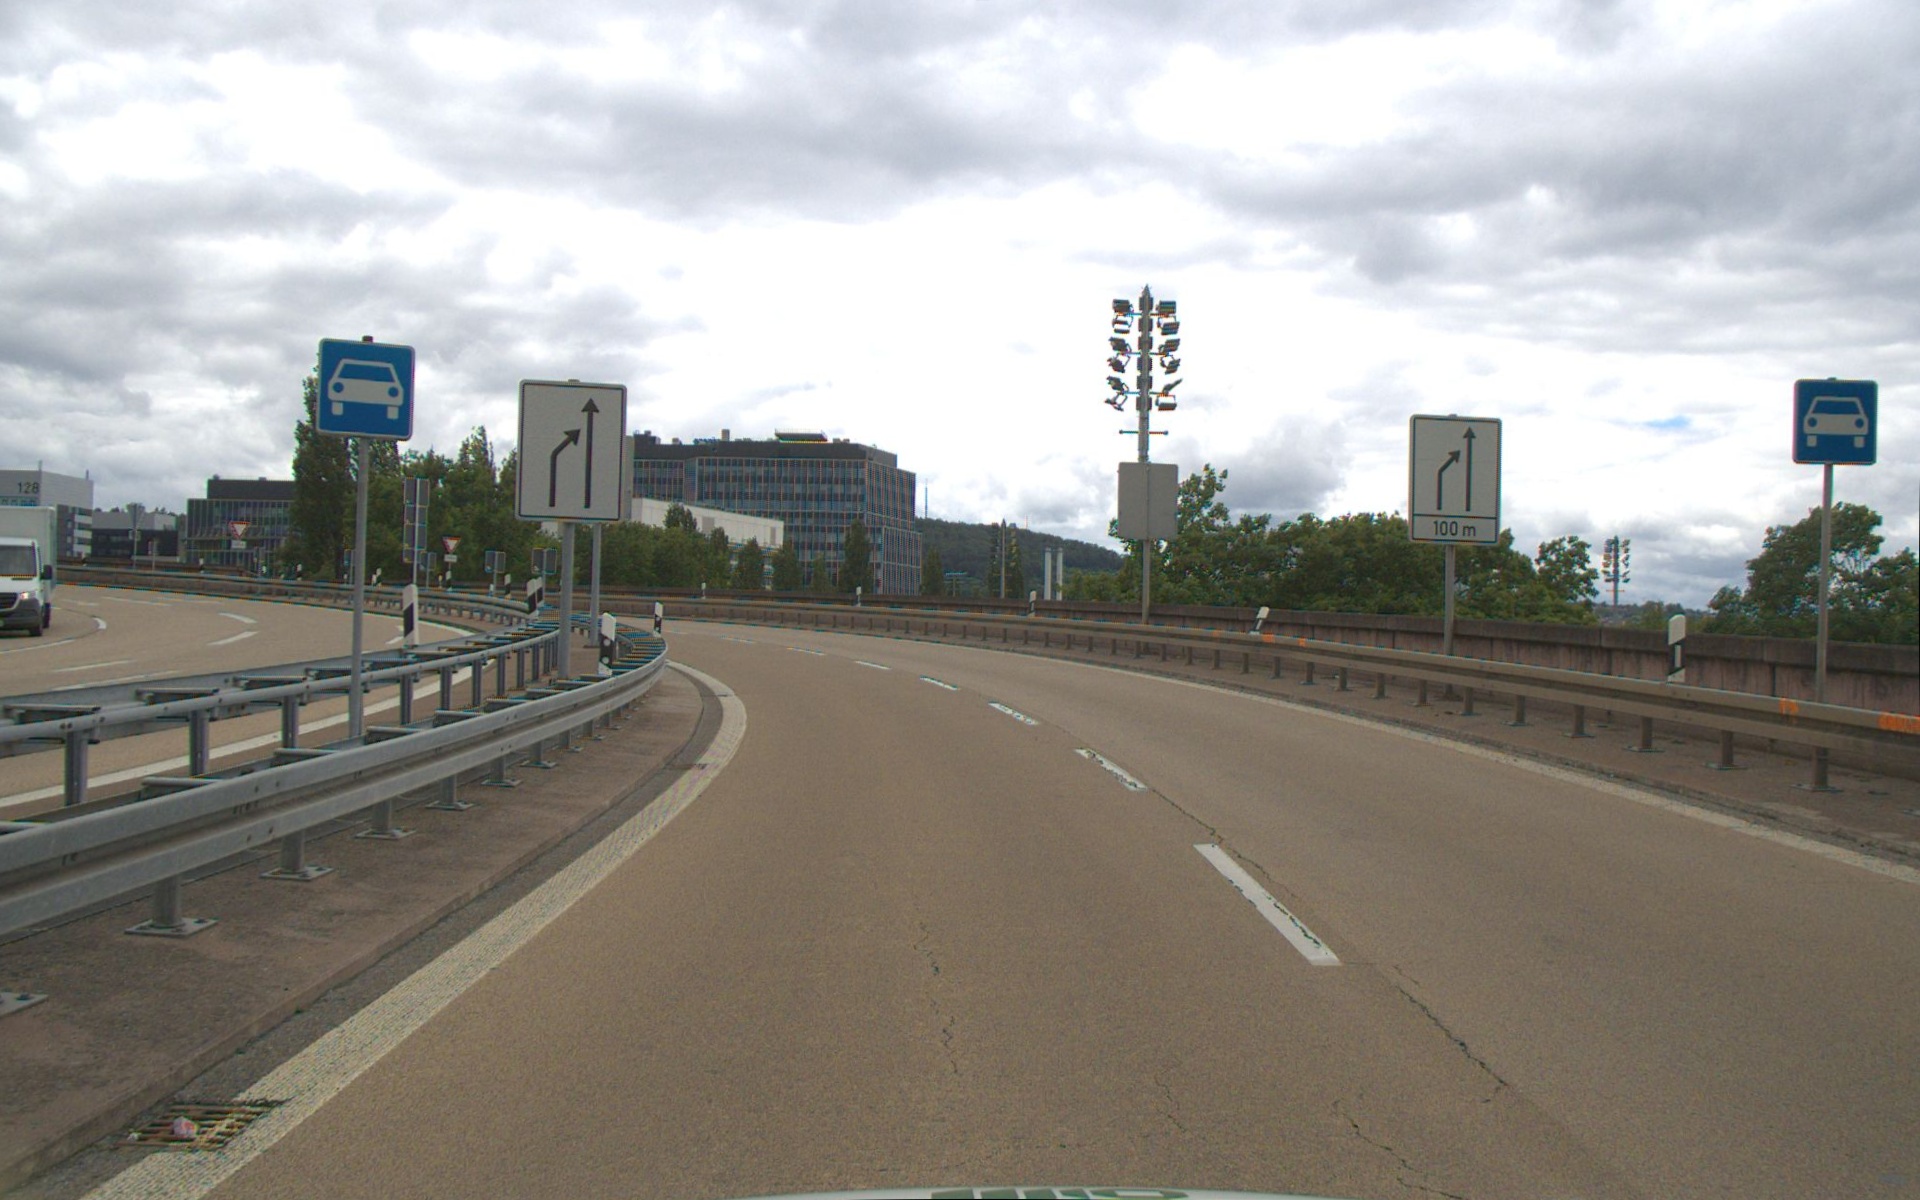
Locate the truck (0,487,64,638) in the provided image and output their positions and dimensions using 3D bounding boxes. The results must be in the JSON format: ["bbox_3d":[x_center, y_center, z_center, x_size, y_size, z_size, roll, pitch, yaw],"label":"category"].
[{"bbox_3d":[-22.893,-0.877,39.460,2.322,3.320,6.921,0,1,-31],"label":"truck"}]
